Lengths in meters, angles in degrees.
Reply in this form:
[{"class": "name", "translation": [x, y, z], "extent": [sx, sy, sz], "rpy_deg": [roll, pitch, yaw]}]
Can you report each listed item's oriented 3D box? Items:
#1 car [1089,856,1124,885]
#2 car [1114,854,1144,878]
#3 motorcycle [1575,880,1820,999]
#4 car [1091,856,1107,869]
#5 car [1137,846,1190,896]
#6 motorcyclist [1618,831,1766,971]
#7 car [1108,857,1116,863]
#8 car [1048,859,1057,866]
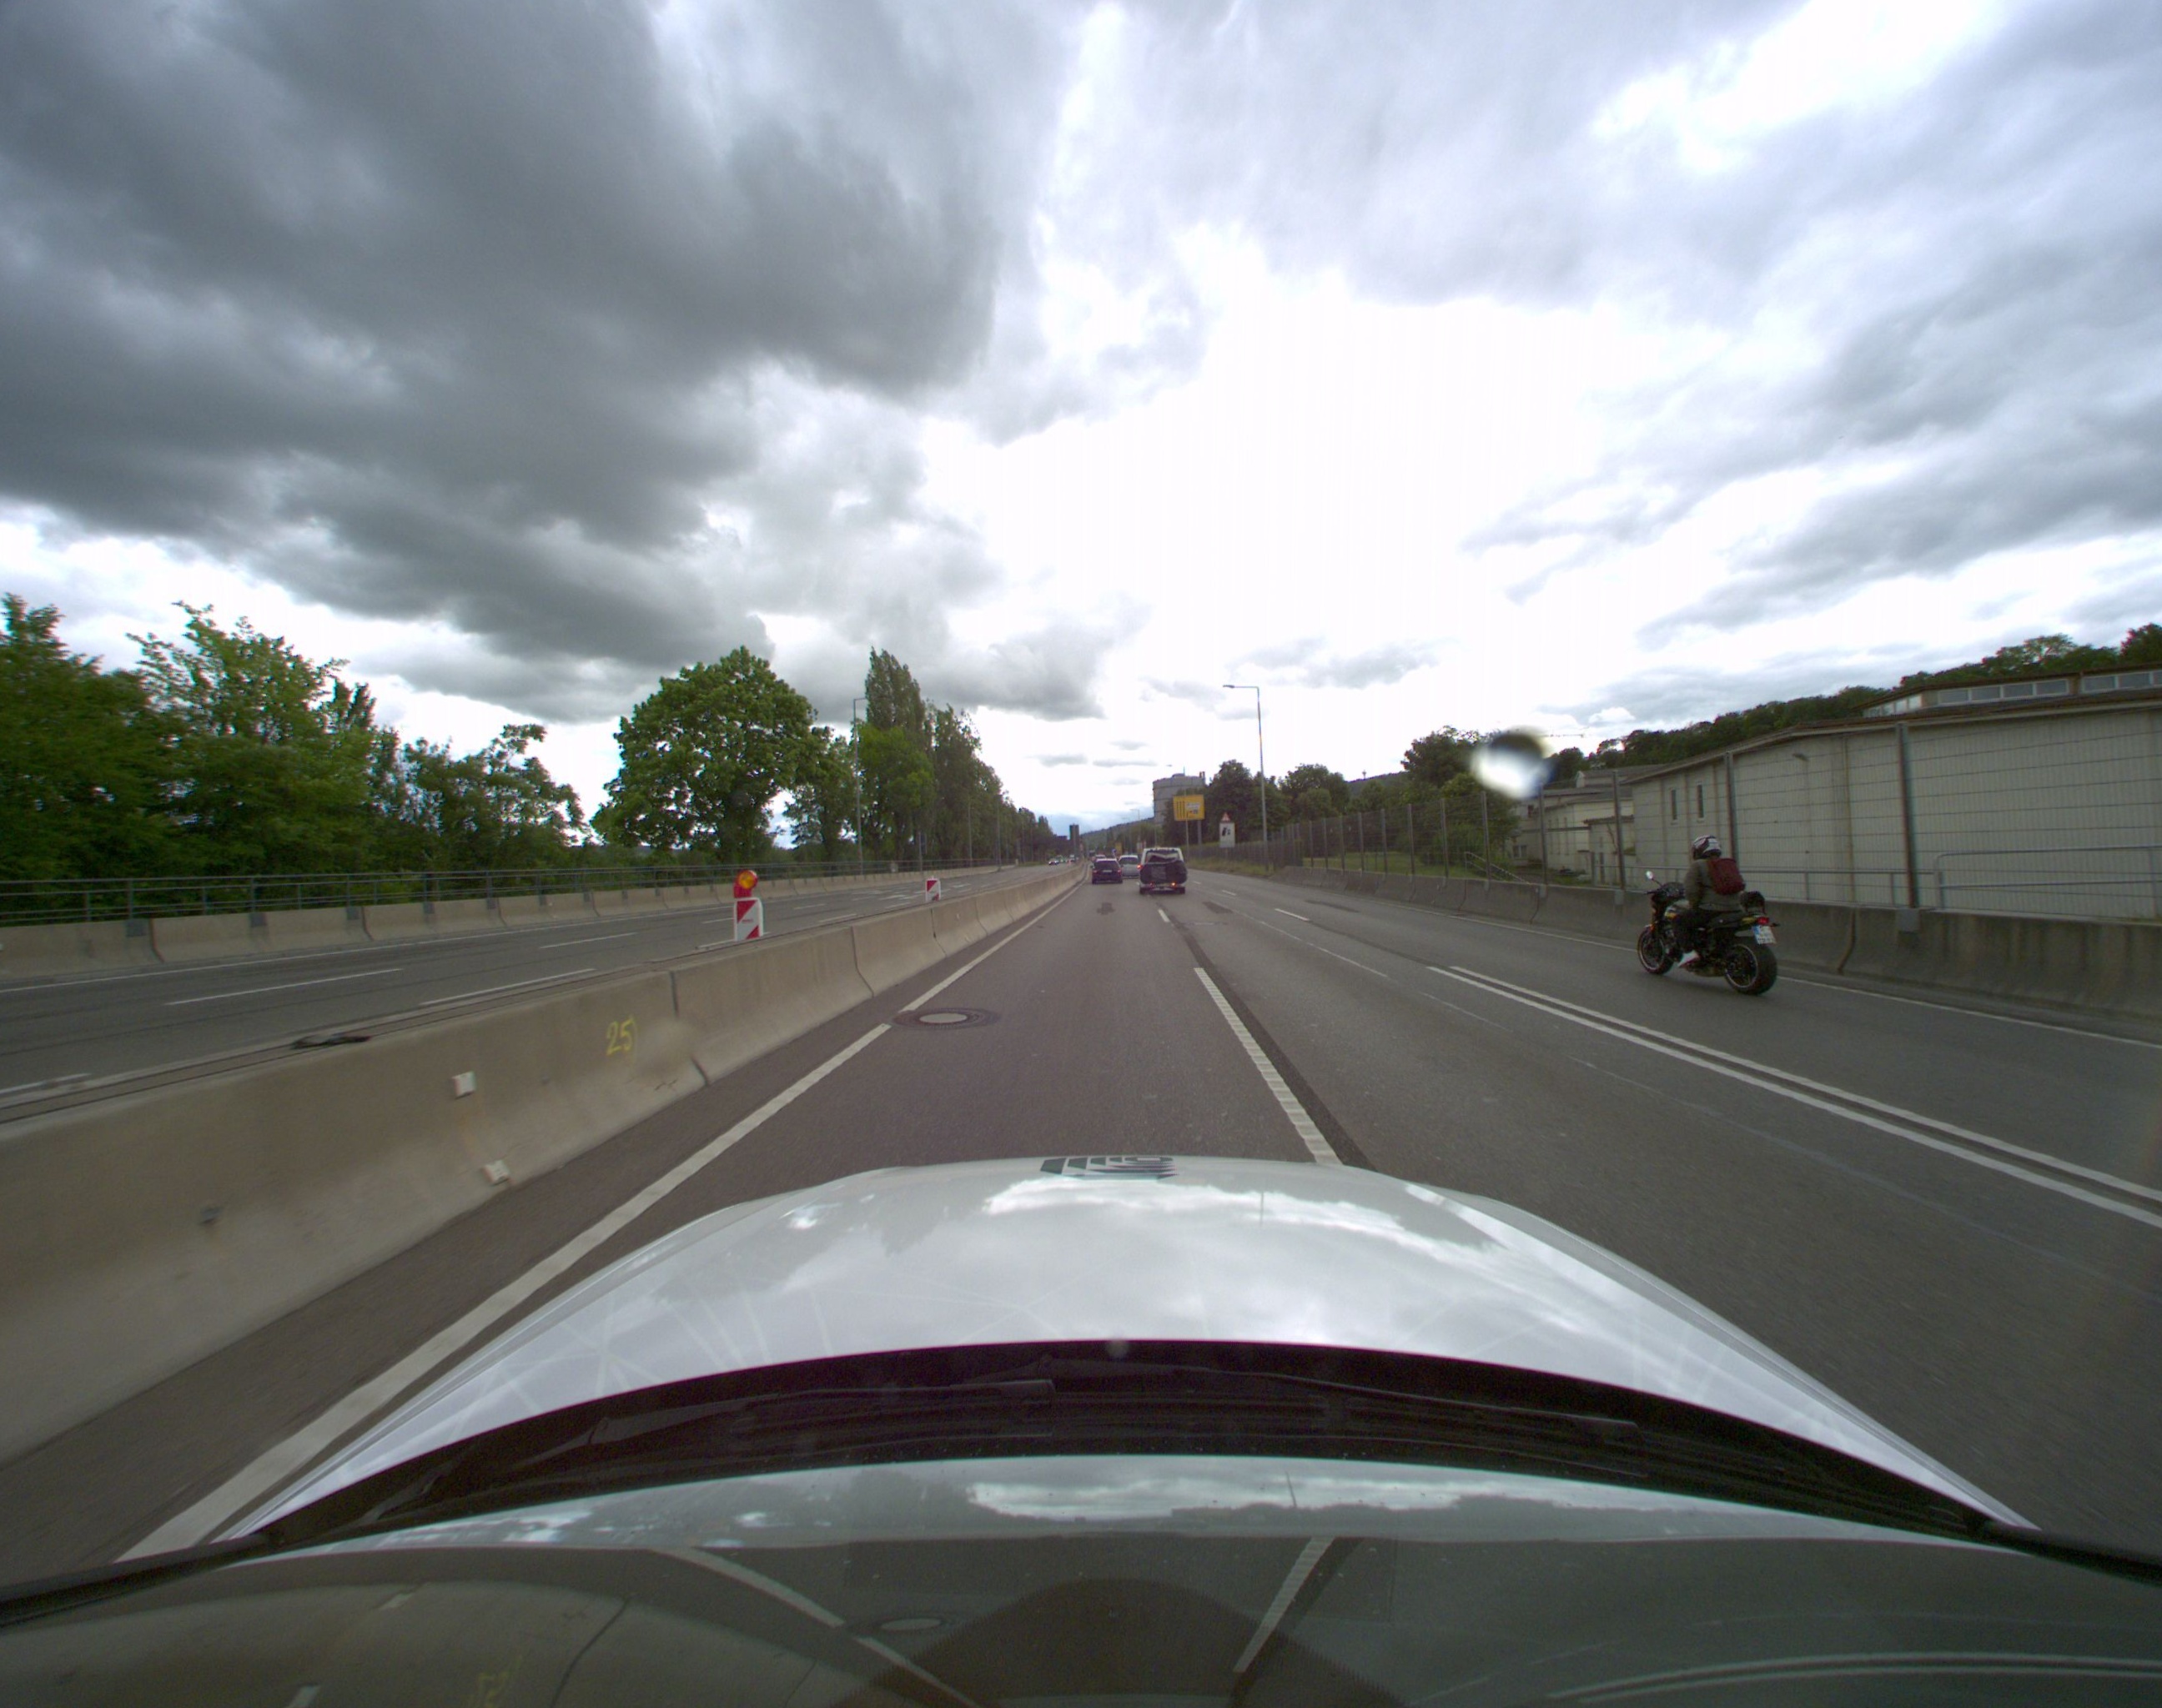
[{"class": "car", "translation": [1.536, 0.918, 46.914], "extent": [1.807, 1.434, 4.069], "rpy_deg": [-3, 0, 3]}, {"class": "car", "translation": [3.278, 0.807, 55.464], "extent": [1.912, 1.489, 4.069], "rpy_deg": [-2, 0, 4]}, {"class": "motorcycle", "translation": [6.920, 0.889, 9.411], "extent": [0.741, 1.083, 2.663], "rpy_deg": [-2, -1, -1]}, {"class": "car", "translation": [2.504, 1.189, 111.921], "extent": [1.985, 1.673, 4.003], "rpy_deg": [-1, -1, 3]}, {"class": "car", "translation": [3.414, 0.650, 34.057], "extent": [1.983, 1.859, 5.648], "rpy_deg": [-1, 0, 5]}, {"class": "motorcyclist", "translation": [6.906, 0.507, 9.256], "extent": [0.910, 1.477, 0.966], "rpy_deg": [-2, -1, -1]}, {"class": "car", "translation": [7.672, 1.490, 202.337], "extent": [1.987, 1.654, 4.000], "rpy_deg": [-1, 0, 0]}, {"class": "car", "translation": [-6.171, 1.778, 176.578], "extent": [1.728, 1.374, 3.614], "rpy_deg": [-2, 0, -2]}]
